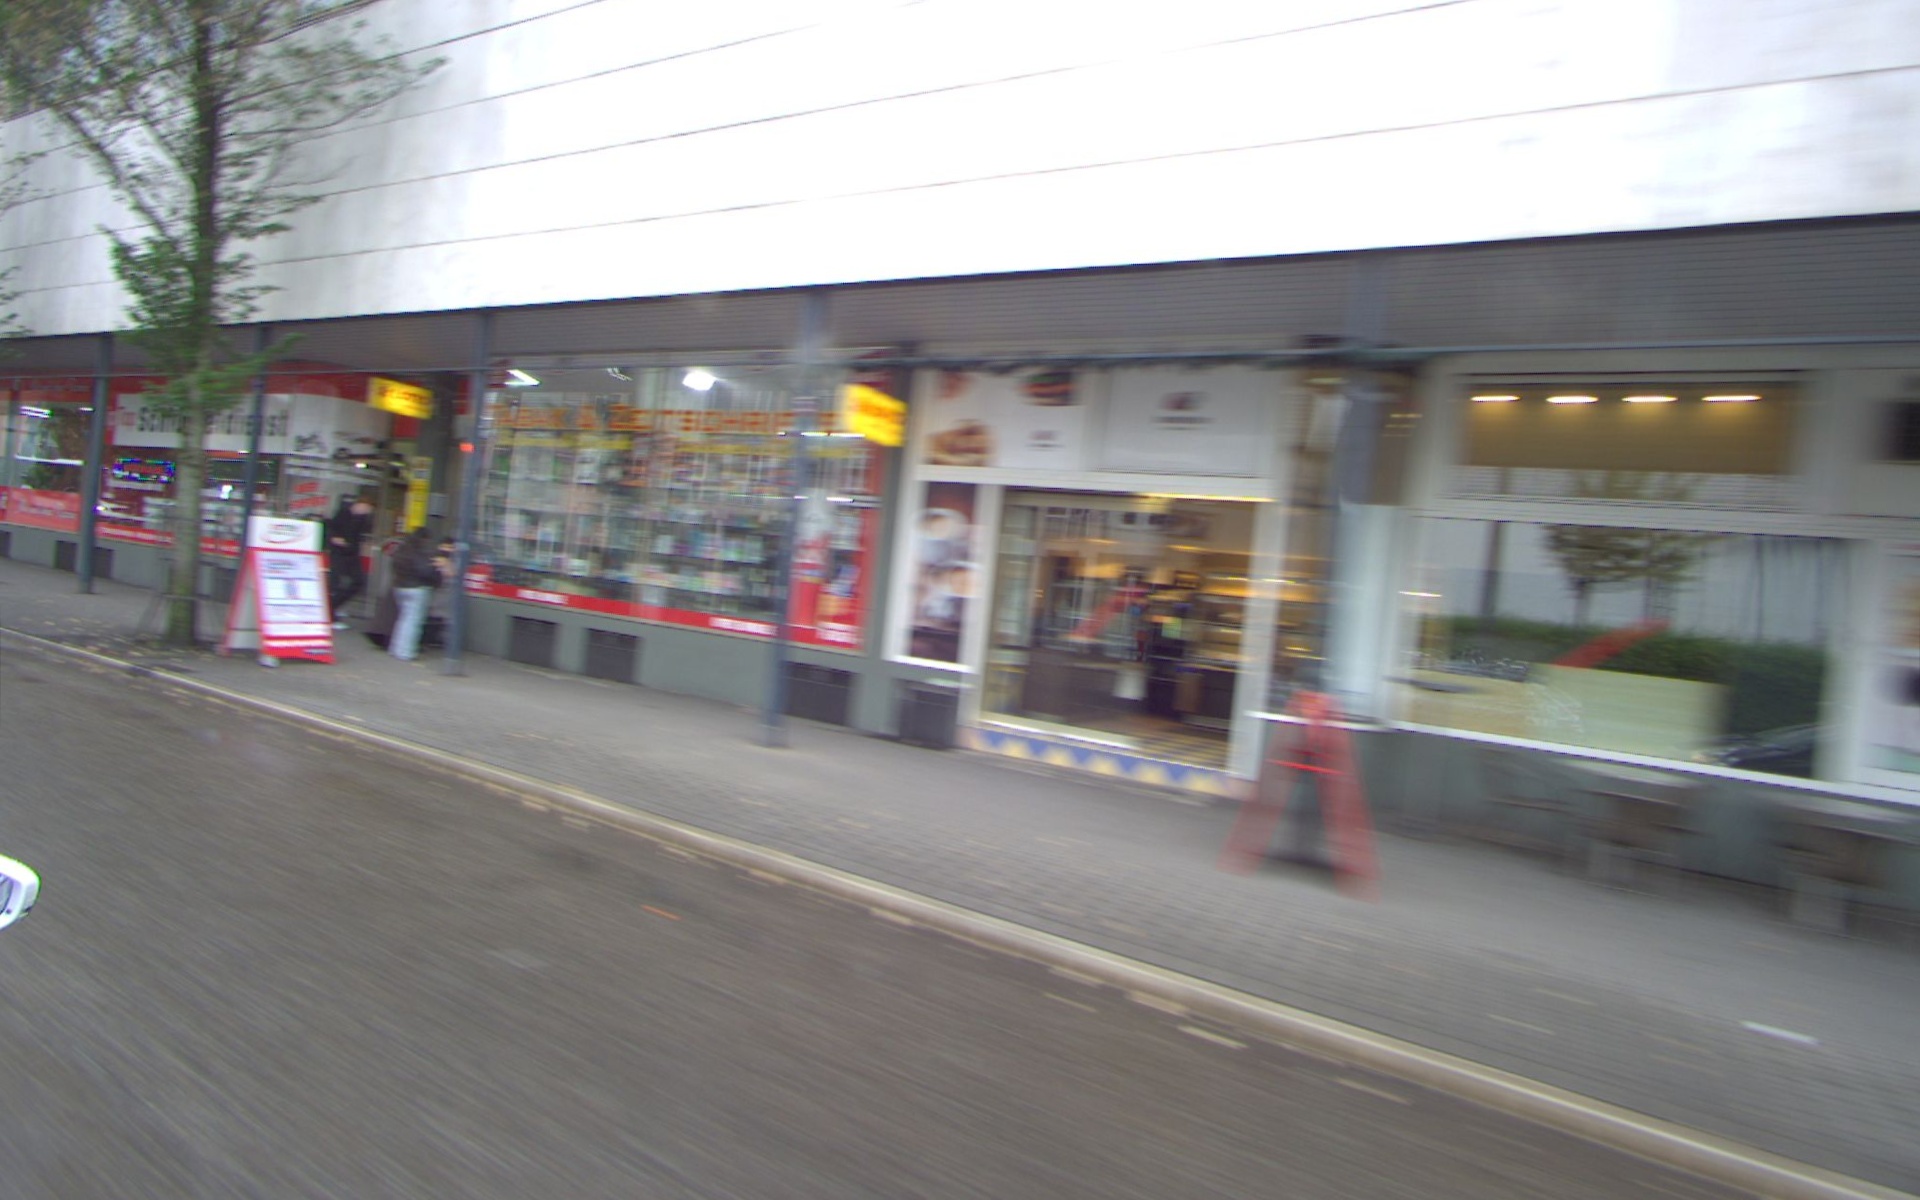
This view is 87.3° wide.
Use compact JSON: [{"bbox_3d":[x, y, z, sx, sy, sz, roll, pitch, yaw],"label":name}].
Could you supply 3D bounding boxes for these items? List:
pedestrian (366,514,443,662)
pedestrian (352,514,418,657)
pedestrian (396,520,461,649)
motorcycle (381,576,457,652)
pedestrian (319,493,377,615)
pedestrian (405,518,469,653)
[{"bbox_3d":[-6.203,-0.128,11.244,0.501,1.587,0.429,7,2,28],"label":"pedestrian"},{"bbox_3d":[-6.677,-0.166,11.696,0.423,1.587,0.508,6,2,-15],"label":"pedestrian"},{"bbox_3d":[-6.813,-0.190,12.889,0.501,1.587,0.429,7,2,33],"label":"pedestrian"},{"bbox_3d":[-6.603,0.172,12.275,0.904,0.814,0.324,8,2,29],"label":"motorcycle"},{"bbox_3d":[-8.307,-0.620,13.666,0.423,1.587,0.508,6,2,-15],"label":"pedestrian"},{"bbox_3d":[-6.366,-0.176,12.245,0.423,1.587,0.387,7,2,27],"label":"pedestrian"}]
